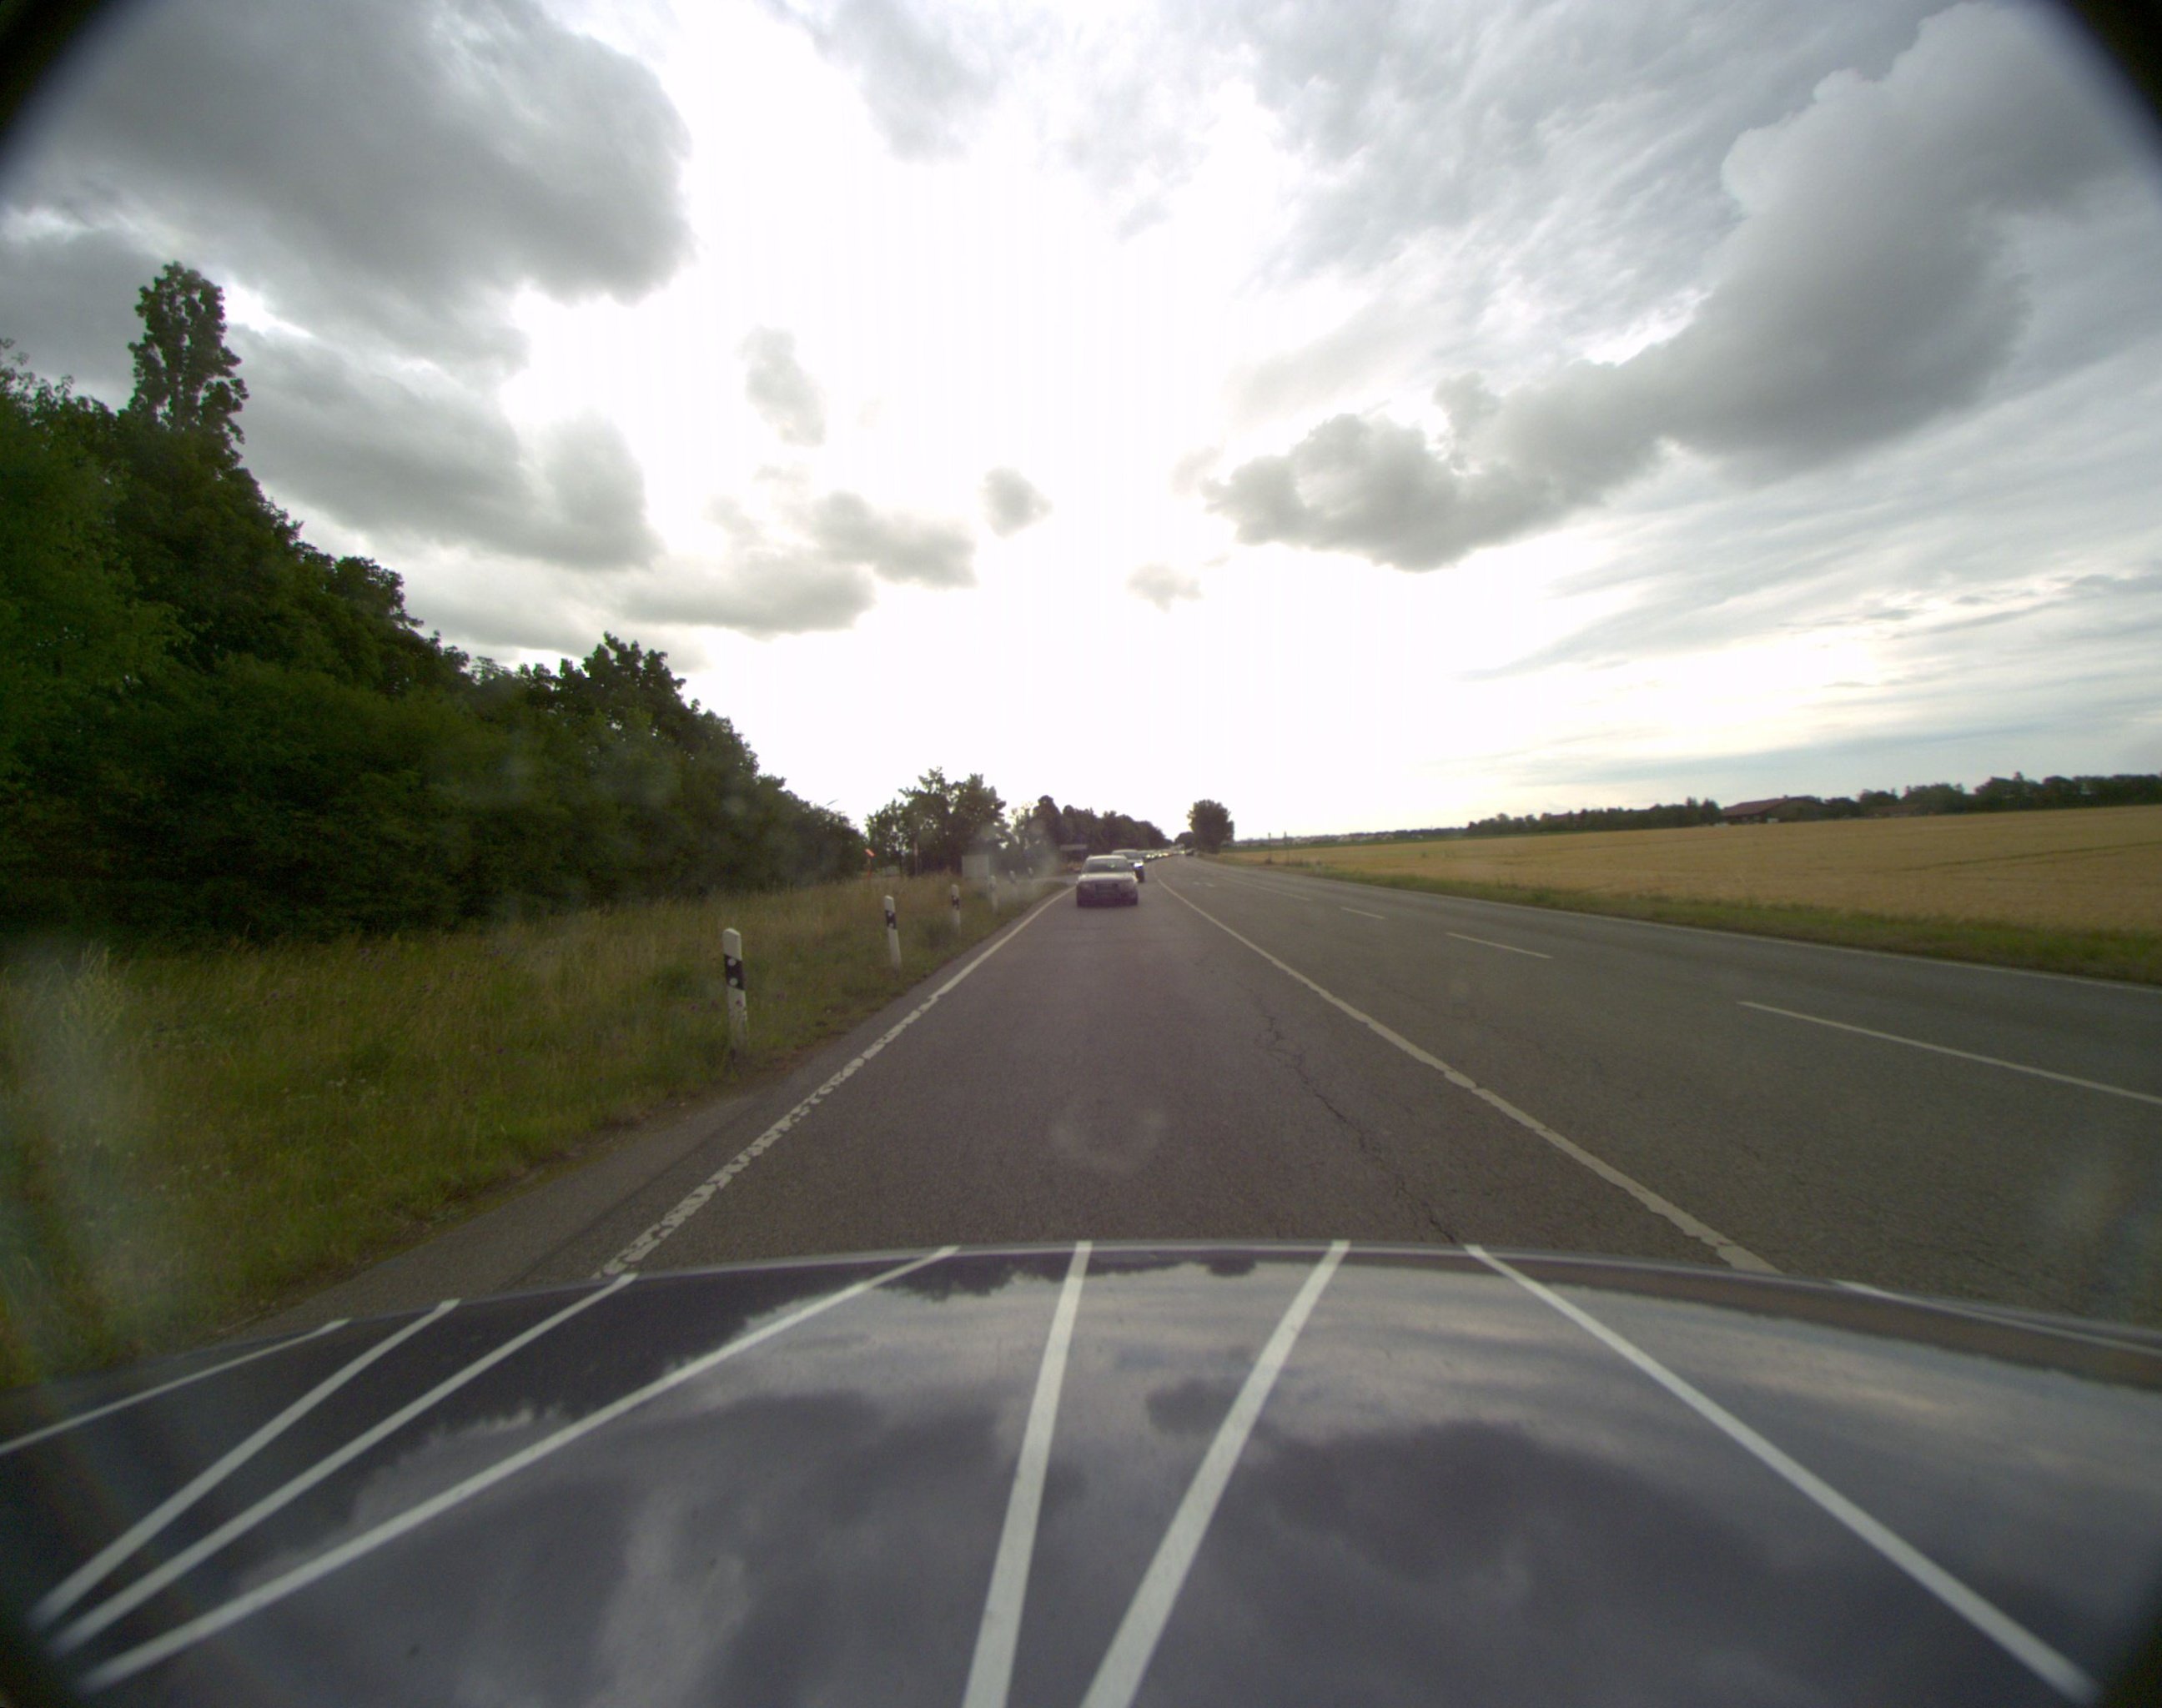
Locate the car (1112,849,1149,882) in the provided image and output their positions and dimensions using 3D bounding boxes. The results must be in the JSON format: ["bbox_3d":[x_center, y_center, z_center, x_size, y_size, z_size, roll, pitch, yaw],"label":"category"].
[{"bbox_3d":[2.584,0.546,40.178,1.793,1.573,4.368,-2,0,2],"label":"car"}]

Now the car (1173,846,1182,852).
[{"bbox_3d":[25.716,-1.309,202.576,1.792,1.531,4.140,-2,0,14],"label":"car"}]

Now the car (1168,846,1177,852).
[{"bbox_3d":[22.833,-1.277,189.013,1.792,1.573,4.140,-2,0,12],"label":"car"}]

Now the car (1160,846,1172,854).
[{"bbox_3d":[18.963,-0.934,169.385,1.953,1.573,4.140,-2,0,13],"label":"car"}]

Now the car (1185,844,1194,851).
[{"bbox_3d":[25.085,-1.551,175.459,1.830,1.402,4.427,-3,0,11],"label":"car"}]

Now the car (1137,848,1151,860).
[{"bbox_3d":[8.497,-0.007,102.331,1.793,1.573,4.369,-2,0,7],"label":"car"}]

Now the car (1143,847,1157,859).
[{"bbox_3d":[10.144,-0.167,111.400,1.793,1.573,4.189,-2,0,7],"label":"car"}]

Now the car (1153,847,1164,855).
[{"bbox_3d":[15.334,-0.623,150.118,1.792,1.573,4.139,-2,0,9],"label":"car"}]

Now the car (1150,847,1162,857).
[{"bbox_3d":[12.706,-0.376,128.050,1.793,1.573,4.189,-2,0,7],"label":"car"}]

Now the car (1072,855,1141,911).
[{"bbox_3d":[0.787,0.798,22.750,1.793,1.415,4.368,-2,0,2],"label":"car"}]

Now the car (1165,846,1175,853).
[{"bbox_3d":[21.030,-1.152,179.152,1.792,1.573,4.140,-2,0,13],"label":"car"}]

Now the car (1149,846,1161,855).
[{"bbox_3d":[13.561,-0.602,138.780,1.792,1.573,4.139,-2,0,9],"label":"car"}]

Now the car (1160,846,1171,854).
[{"bbox_3d":[17.982,-0.856,161.300,1.792,1.573,4.140,-2,0,11],"label":"car"}]
